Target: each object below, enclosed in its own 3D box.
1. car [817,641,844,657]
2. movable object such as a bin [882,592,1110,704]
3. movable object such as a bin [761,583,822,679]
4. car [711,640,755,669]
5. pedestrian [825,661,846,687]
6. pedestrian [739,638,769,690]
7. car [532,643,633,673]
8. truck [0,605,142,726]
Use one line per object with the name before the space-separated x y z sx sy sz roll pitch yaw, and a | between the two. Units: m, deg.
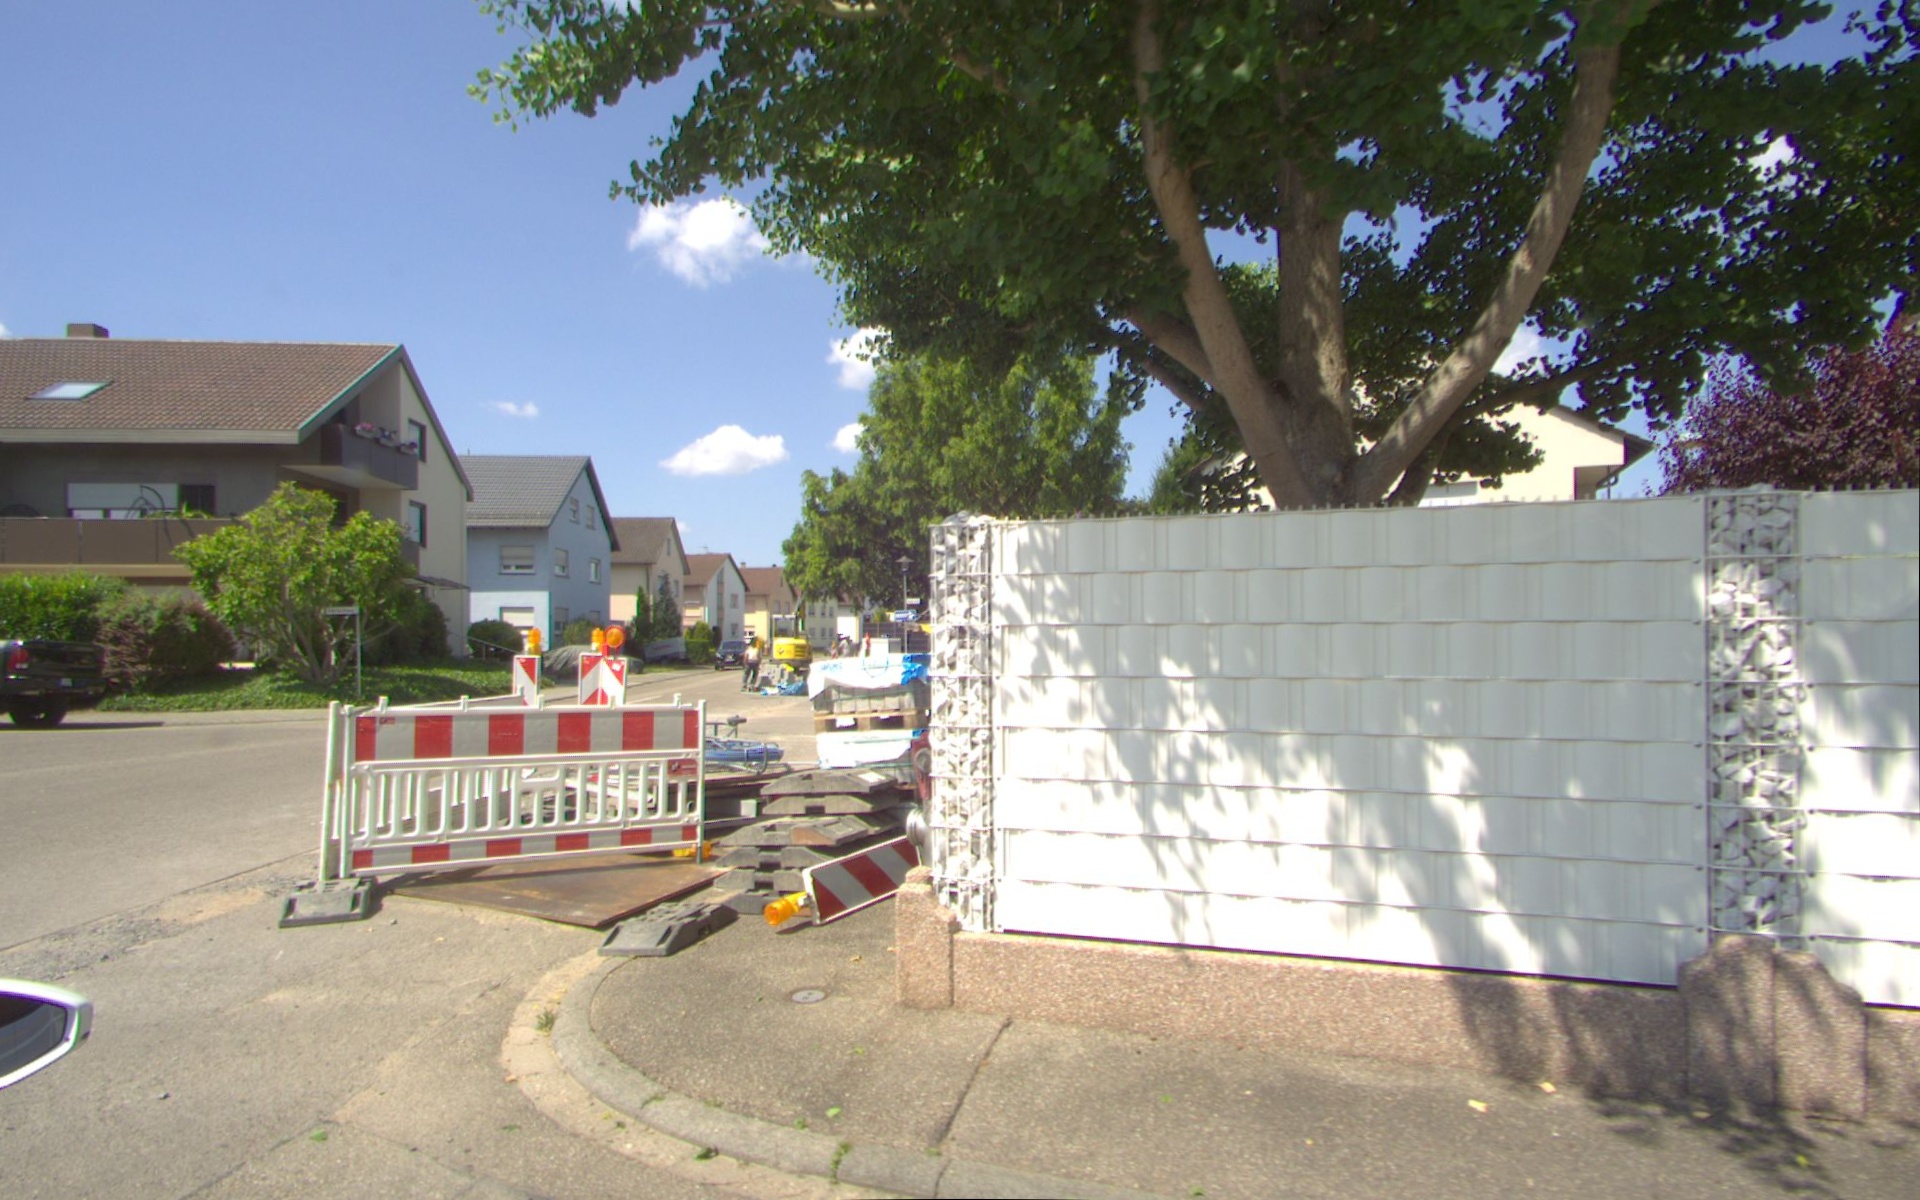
car | -14.256 5.364 110.413 1.930 1.671 4.000 0 -2 10
movable object such as a bin | 0.844 1.187 24.125 5.150 2.482 1.994 -2 -4 27
movable object such as a bin | -6.577 1.226 39.460 1.961 3.610 3.816 0 -2 -3
car | -12.613 3.002 55.841 1.883 1.561 4.001 0 -2 -6
pedestrian | -4.005 2.369 32.128 0.516 0.803 0.428 0 -2 -39
pedestrian | -6.135 1.897 29.864 0.523 1.533 0.849 -1 -1 19
car | -17.204 2.632 45.755 3.923 1.359 2.000 0 -2 -6
truck | -18.441 1.142 17.789 5.603 2.039 2.372 0 -2 -7
